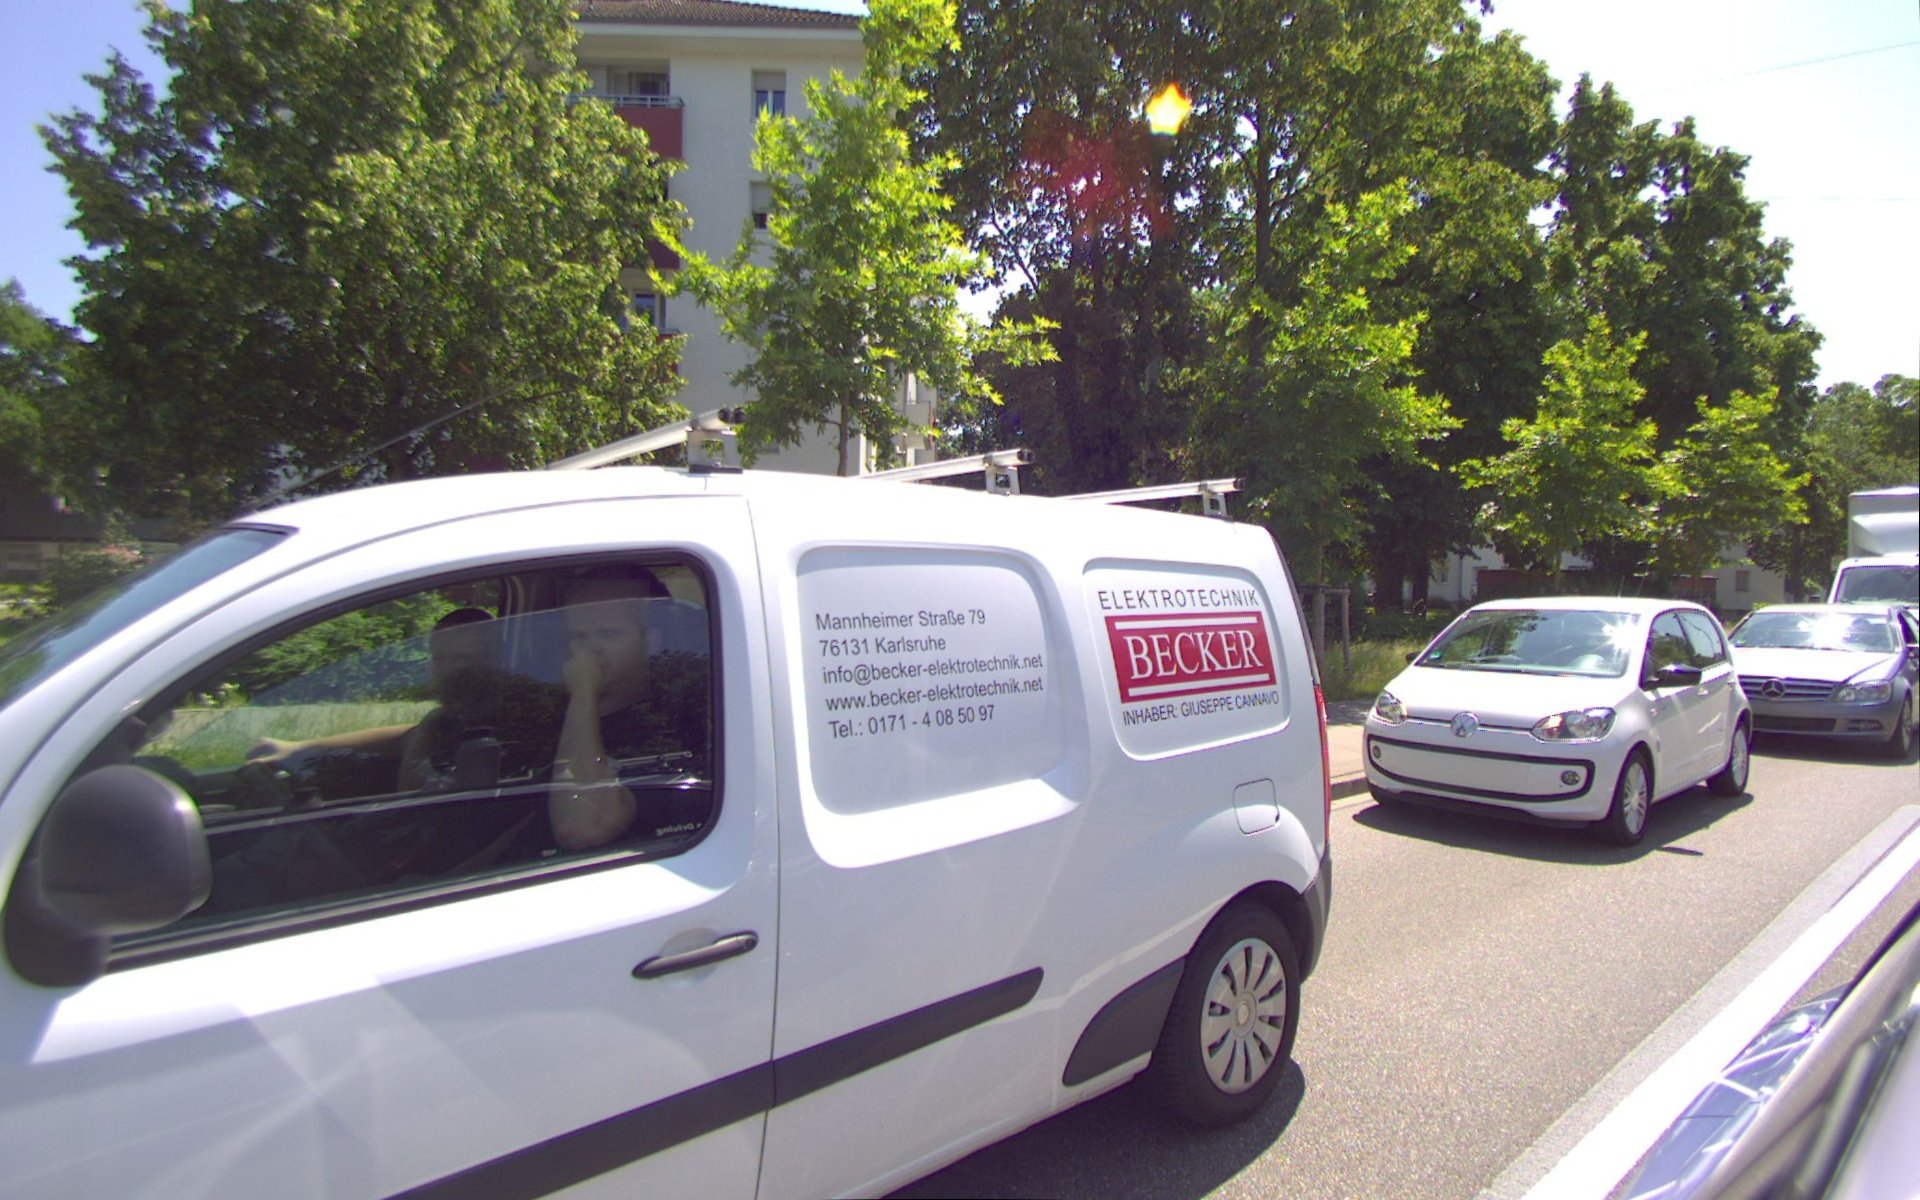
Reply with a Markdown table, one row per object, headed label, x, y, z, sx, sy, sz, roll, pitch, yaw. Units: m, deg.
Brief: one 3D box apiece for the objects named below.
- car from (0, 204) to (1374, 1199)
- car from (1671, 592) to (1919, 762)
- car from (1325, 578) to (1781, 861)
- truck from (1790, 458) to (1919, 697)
| label | x | y | z | sx | sy | sz | roll | pitch | yaw |
| --- | --- | --- | --- | --- | --- | --- | --- | --- | --- |
| car | -0.997 | 0.455 | 2.534 | 4.370 | 1.849 | 1.997 | 0 | 1 | -41 |
| car | 9.229 | 0.656 | 10.738 | 4.016 | 1.426 | 1.839 | 0 | 1 | -41 |
| car | 4.396 | 0.623 | 7.287 | 3.705 | 1.497 | 1.729 | 0 | 1 | -41 |
| truck | 16.513 | -0.336 | 16.972 | 7.778 | 3.387 | 2.434 | 0 | 1 | -39 |
